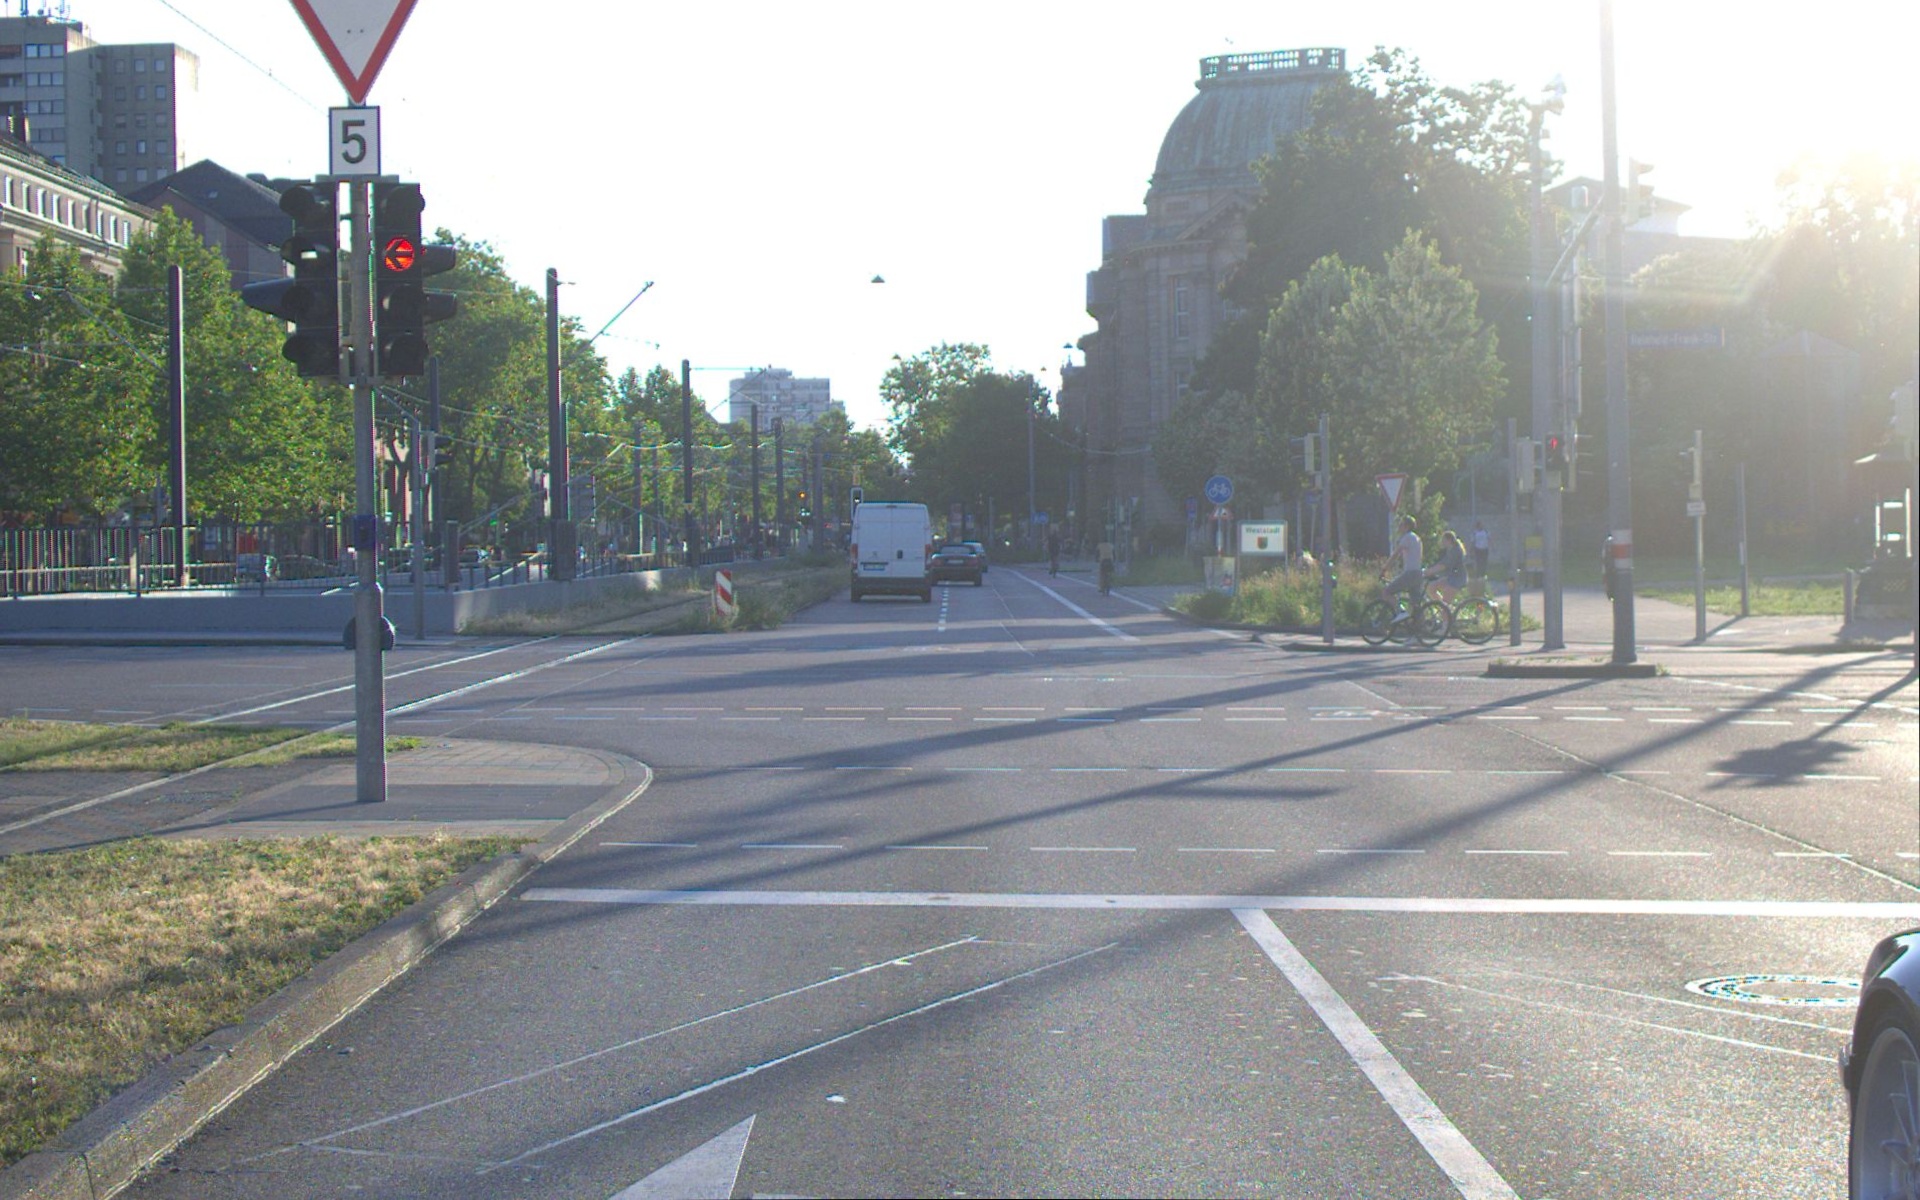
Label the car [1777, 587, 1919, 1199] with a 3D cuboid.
[{"bbox_3d":[2.513,0.730,4.341,1.830,1.349,4.642,0,2,0],"label":"car"}]

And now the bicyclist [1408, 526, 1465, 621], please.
[{"bbox_3d":[7.387,-0.412,53.306,0.853,1.437,0.663,-1,2,7],"label":"bicyclist"}]

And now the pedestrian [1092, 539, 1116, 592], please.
[{"bbox_3d":[4.100,-0.974,97.822,0.616,1.470,0.800,-1,2,4],"label":"pedestrian"}]

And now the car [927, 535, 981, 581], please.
[{"bbox_3d":[-0.181,-1.408,113.920,1.737,1.381,4.000,-1,2,1],"label":"car"}]

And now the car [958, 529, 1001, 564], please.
[{"bbox_3d":[0.931,-2.587,165.387,1.794,1.560,4.001,-1,2,-4],"label":"car"}]

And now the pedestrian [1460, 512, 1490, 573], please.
[{"bbox_3d":[13.758,-1.530,91.818,0.682,1.605,0.613,-1,2,1],"label":"pedestrian"}]

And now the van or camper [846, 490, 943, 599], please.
[{"bbox_3d":[-1.631,-1.456,87.453,2.263,2.616,4.503,-1,2,1],"label":"van or camper"}]

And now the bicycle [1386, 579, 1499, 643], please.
[{"bbox_3d":[7.482,0.171,53.317,1.719,0.966,0.609,0,2,8],"label":"bicycle"}]

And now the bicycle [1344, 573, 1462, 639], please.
[{"bbox_3d":[6.623,0.083,51.480,1.728,0.966,0.609,0,2,5],"label":"bicycle"}]

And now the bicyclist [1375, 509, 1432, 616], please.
[{"bbox_3d":[6.637,-0.563,51.451,0.797,1.566,0.663,-1,2,4],"label":"bicyclist"}]
